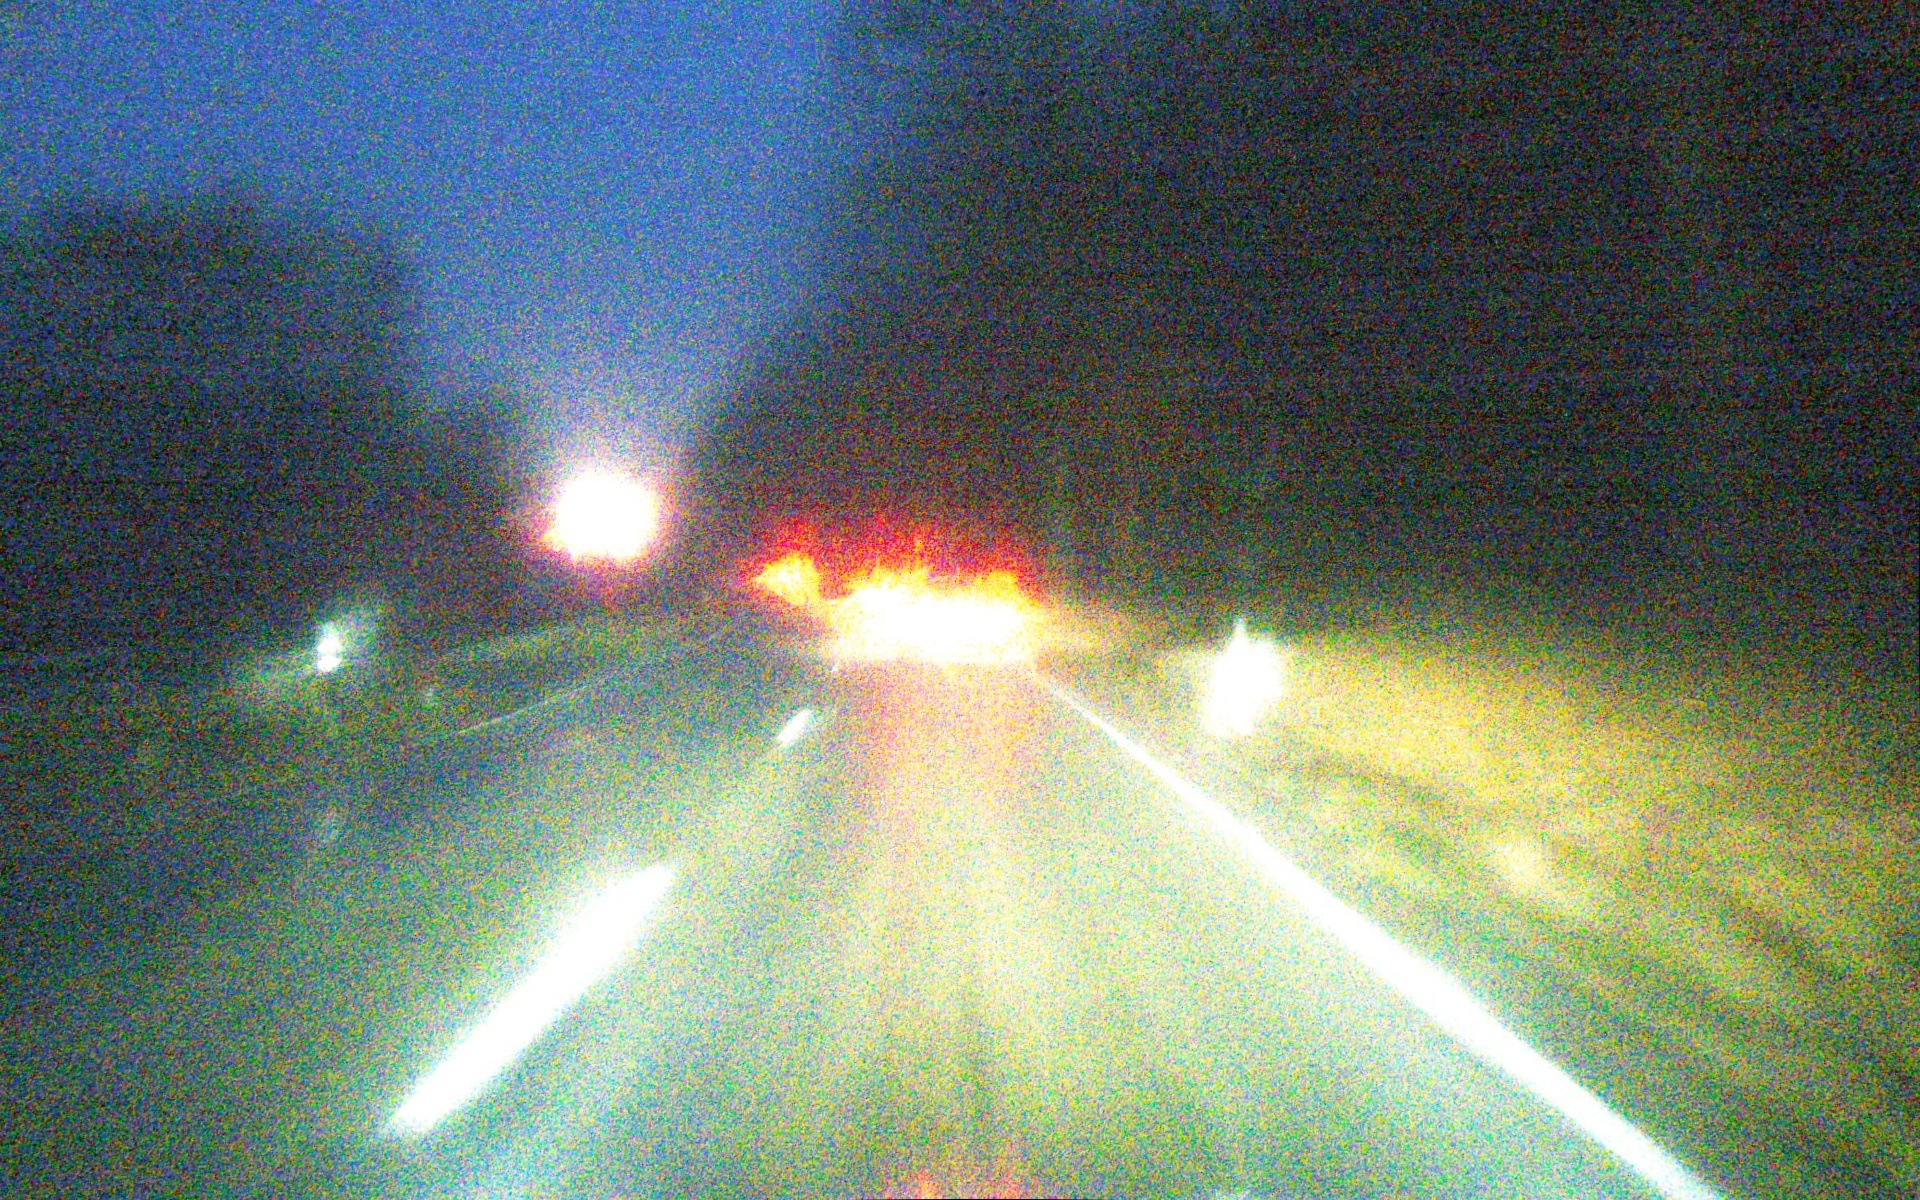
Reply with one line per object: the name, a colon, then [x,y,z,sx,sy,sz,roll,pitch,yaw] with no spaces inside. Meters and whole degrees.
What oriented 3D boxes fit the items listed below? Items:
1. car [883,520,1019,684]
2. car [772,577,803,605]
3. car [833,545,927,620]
car: [-0.175,-0.046,29.697,2.137,2.601,4.508,3,2,-1]
car: [-13.329,-0.716,127.921,1.953,2.049,3.999,-2,0,-1]
car: [-3.041,-0.785,65.341,3.313,2.601,7.336,3,2,-1]
